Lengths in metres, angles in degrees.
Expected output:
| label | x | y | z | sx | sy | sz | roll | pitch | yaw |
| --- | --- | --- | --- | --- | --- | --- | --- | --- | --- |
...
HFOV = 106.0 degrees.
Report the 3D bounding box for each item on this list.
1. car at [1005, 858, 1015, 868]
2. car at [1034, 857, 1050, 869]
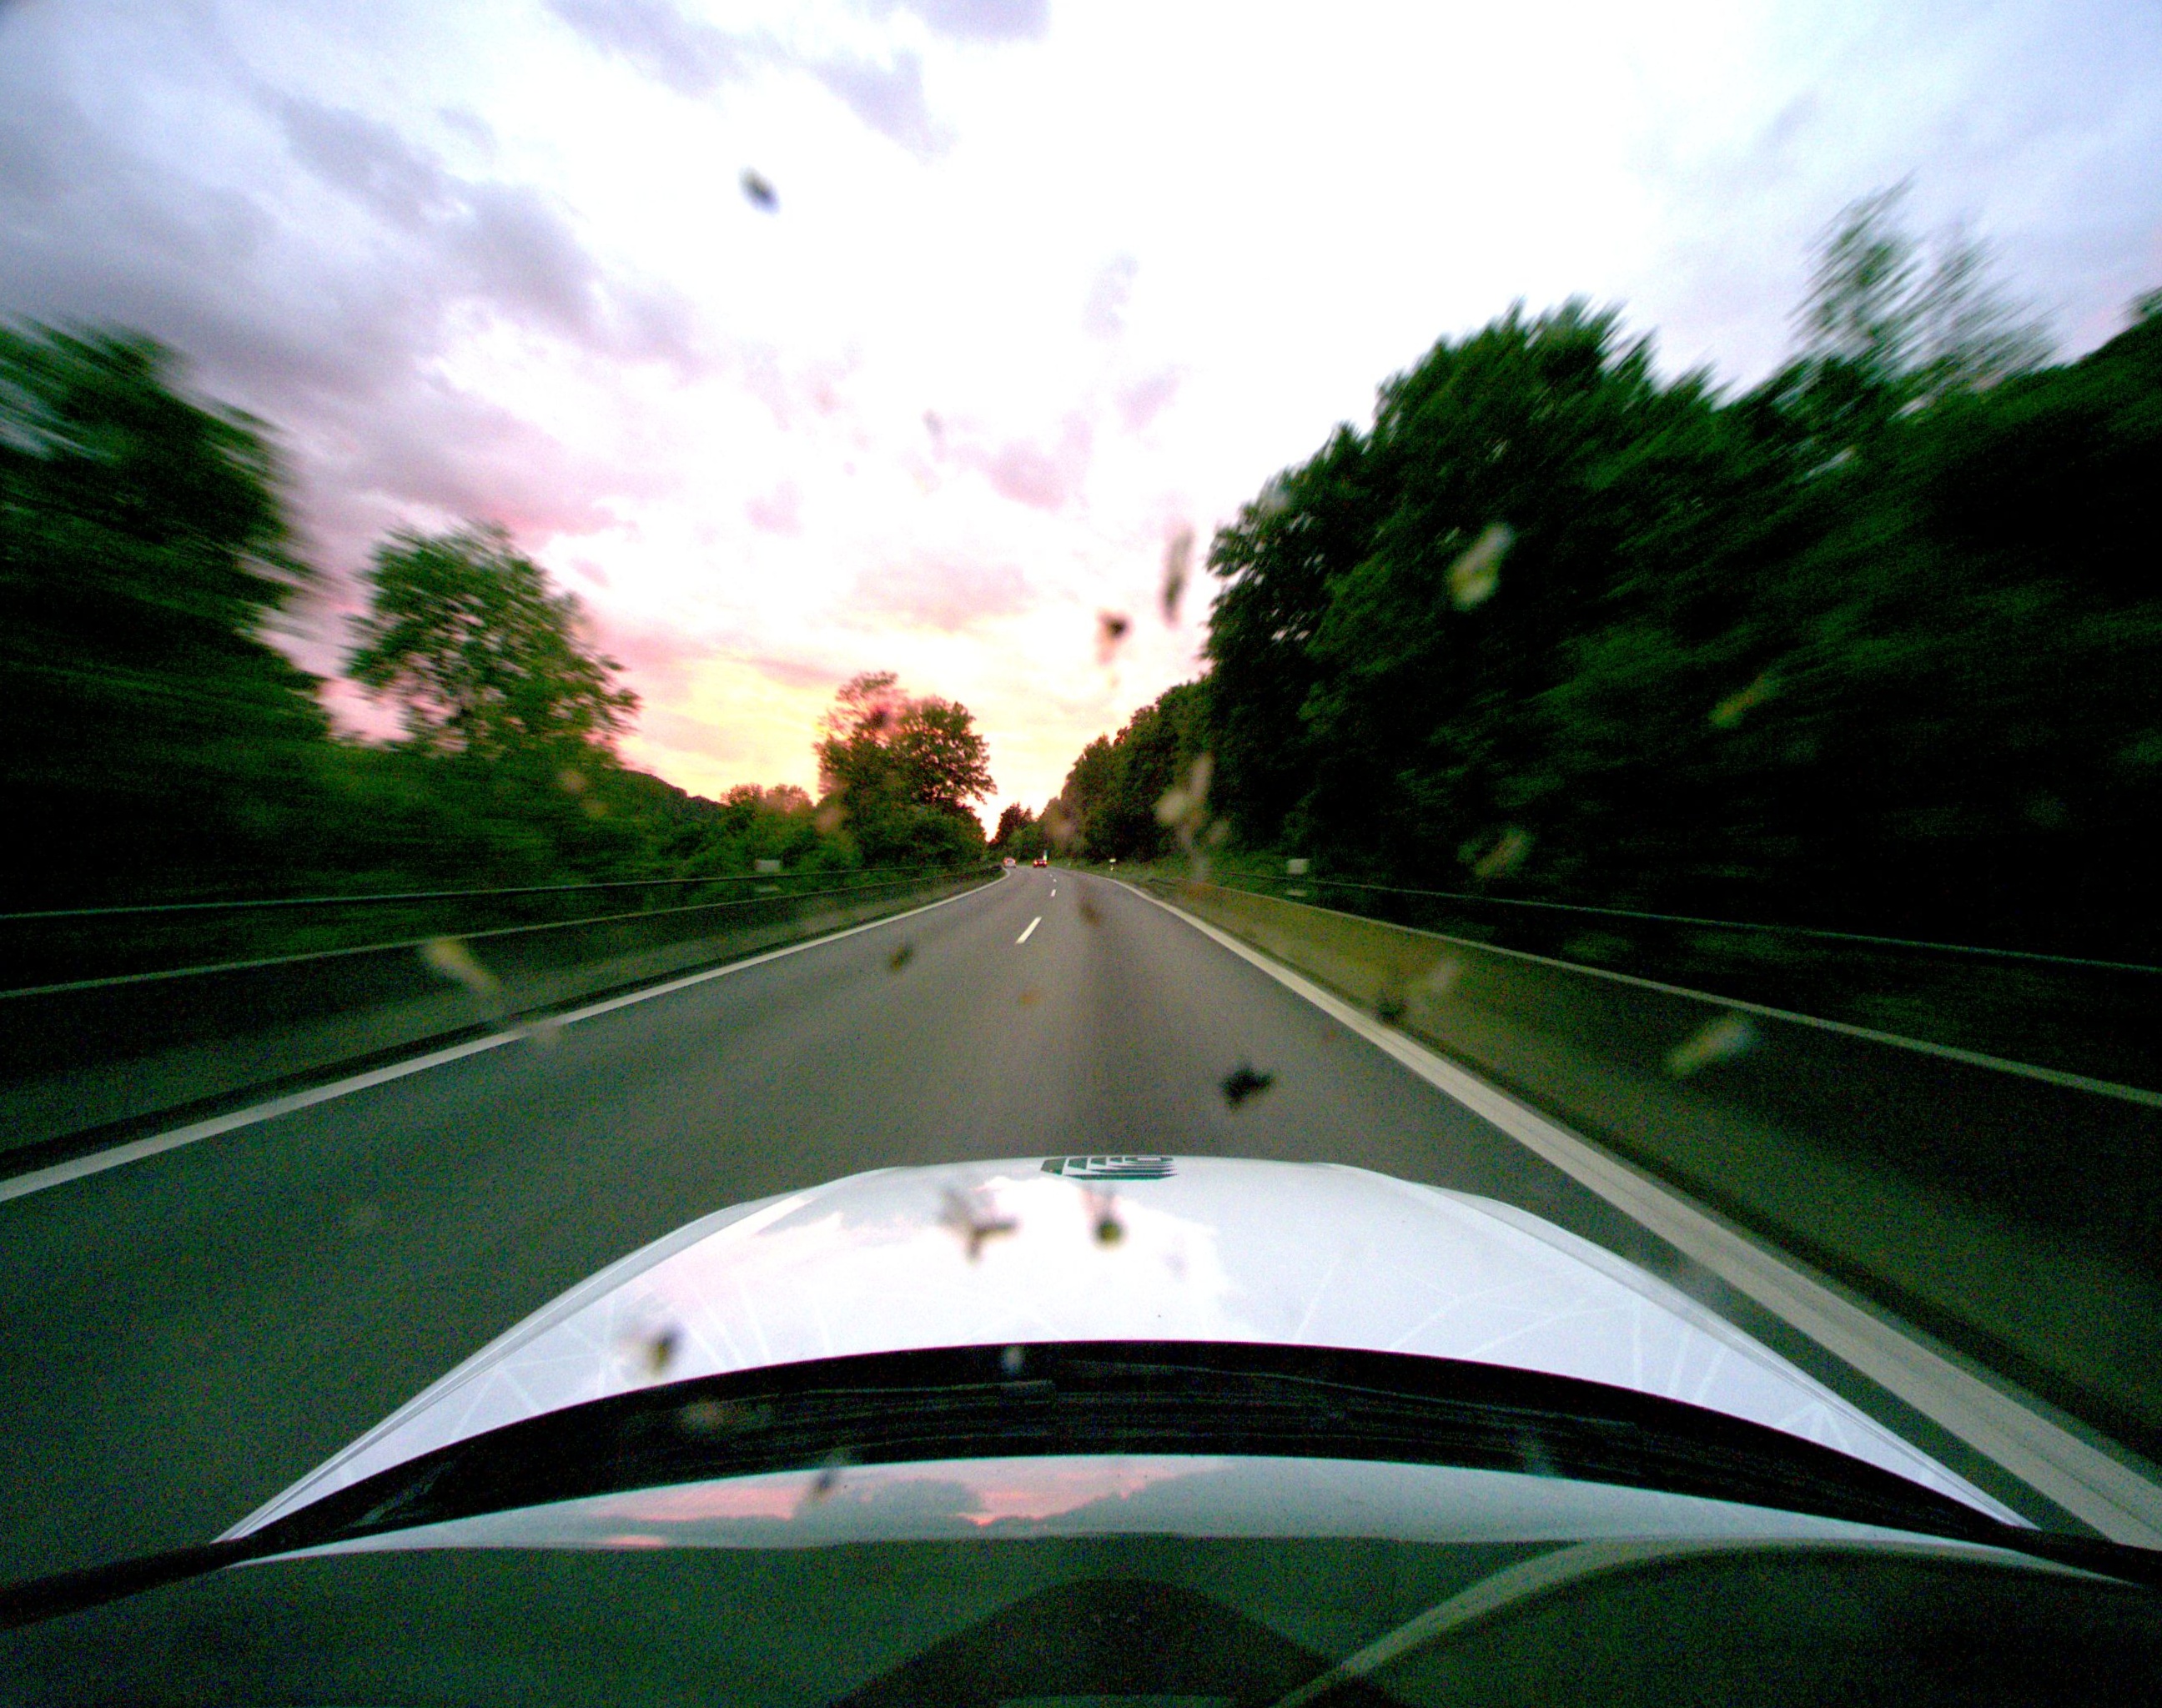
| label | x | y | z | sx | sy | sz | roll | pitch | yaw |
| --- | --- | --- | --- | --- | --- | --- | --- | --- | --- |
| car | -11.769 | 1.455 | 135.157 | 1.715 | 1.502 | 3.993 | 1 | -2 | -4 |
| car | -6.269 | 1.456 | 130.497 | 1.994 | 1.646 | 3.984 | 3 | -4 | -10 |
